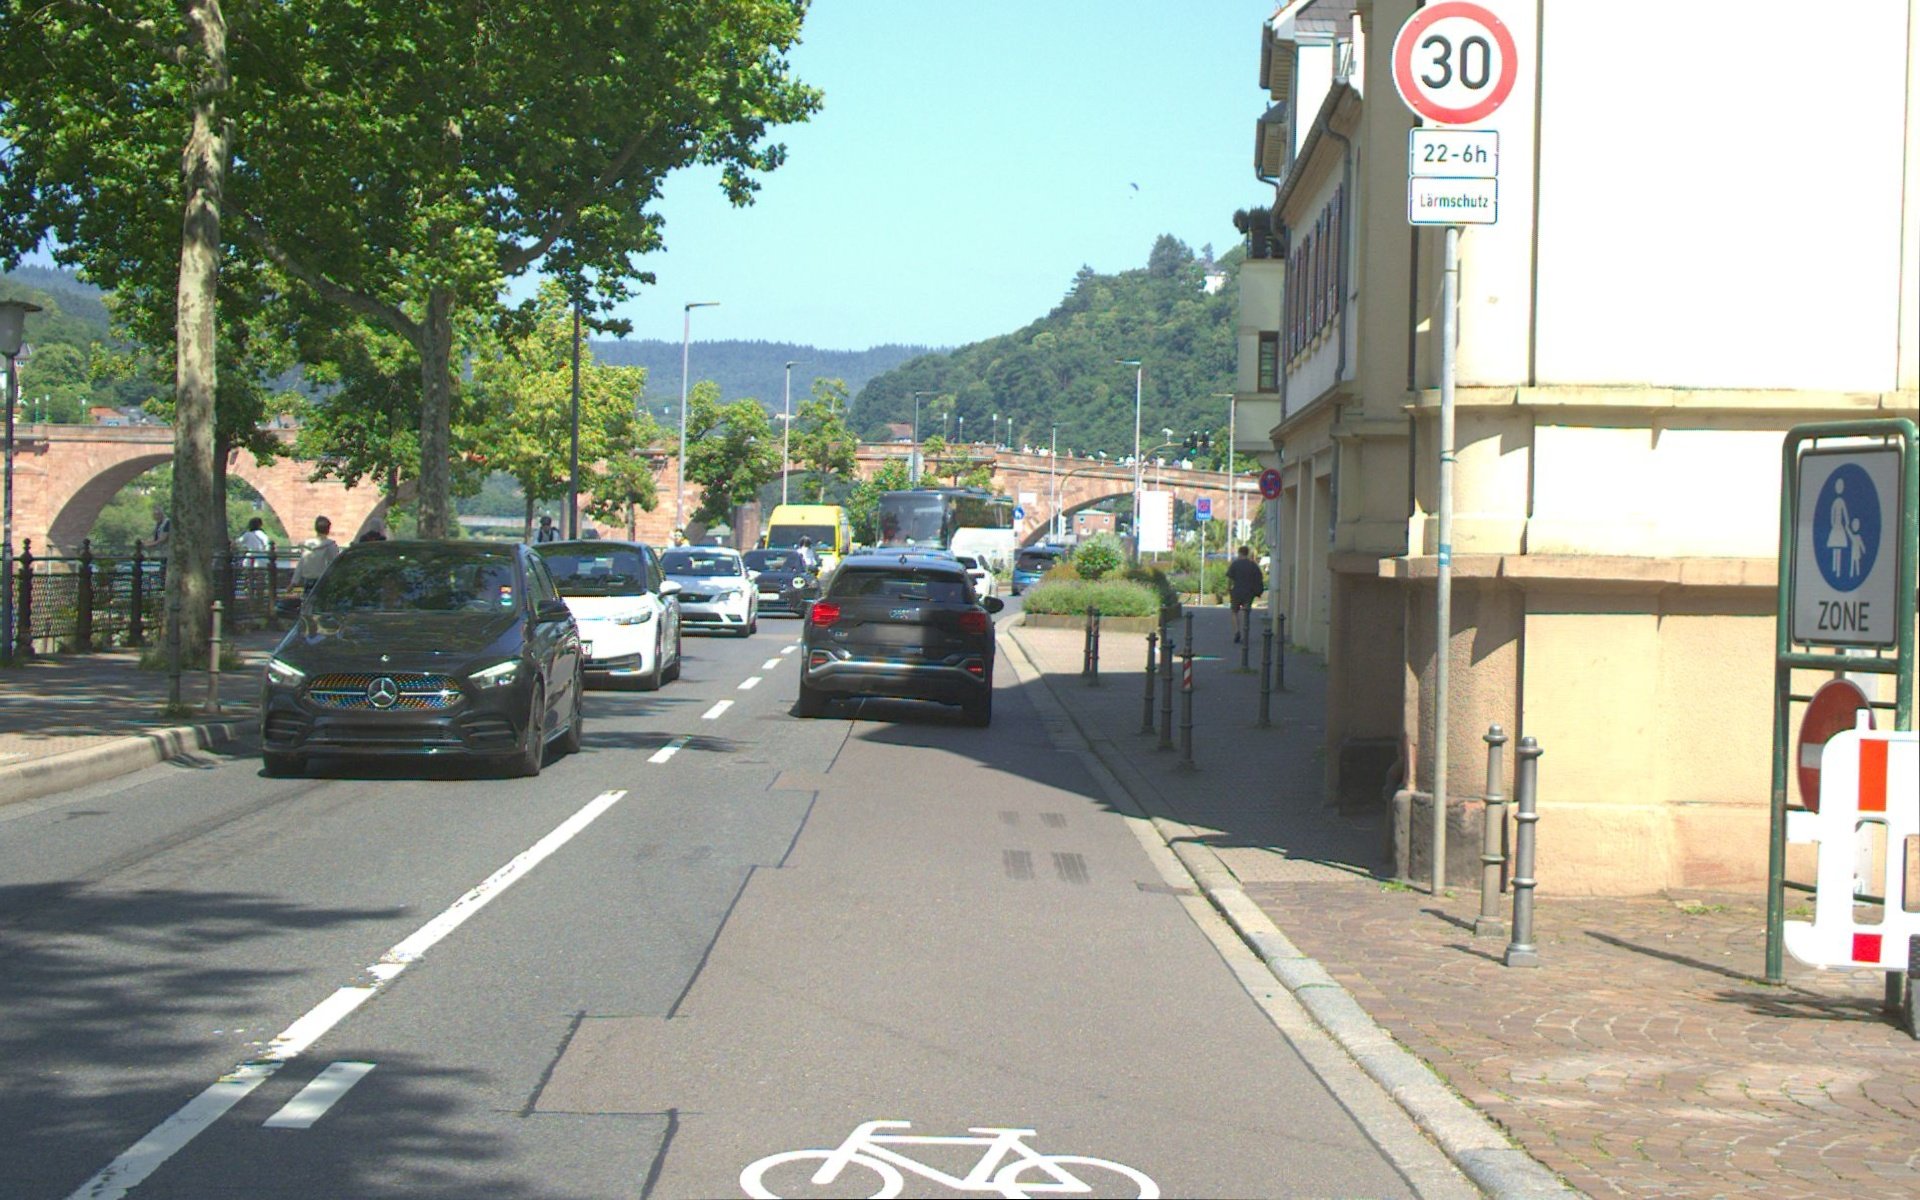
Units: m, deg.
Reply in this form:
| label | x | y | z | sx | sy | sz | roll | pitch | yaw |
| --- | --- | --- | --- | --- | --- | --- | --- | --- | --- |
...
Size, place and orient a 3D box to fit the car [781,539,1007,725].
| label | x | y | z | sx | sy | sz | roll | pitch | yaw |
| --- | --- | --- | --- | --- | --- | --- | --- | --- | --- |
| car | -0.584 | 0.250 | 32.981 | 1.926 | 1.548 | 4.832 | 3 | 1 | 0 |

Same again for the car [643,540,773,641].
| label | x | y | z | sx | sy | sz | roll | pitch | yaw |
| --- | --- | --- | --- | --- | --- | --- | --- | --- | --- |
| car | -4.097 | -0.184 | 56.359 | 1.701 | 1.440 | 4.092 | 3 | 2 | 1 |

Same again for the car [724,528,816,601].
| label | x | y | z | sx | sy | sz | roll | pitch | yaw |
| --- | --- | --- | --- | --- | --- | --- | --- | --- | --- |
| car | -3.963 | -0.750 | 72.138 | 1.701 | 1.453 | 4.002 | 1 | 1 | 0 |

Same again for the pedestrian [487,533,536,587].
| label | x | y | z | sx | sy | sz | roll | pitch | yaw |
| --- | --- | --- | --- | --- | --- | --- | --- | --- | --- |
| pedestrian | -10.811 | -0.967 | 82.874 | 0.937 | 1.276 | 0.849 | 2 | 1 | 8 |

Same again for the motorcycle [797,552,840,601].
| label | x | y | z | sx | sy | sz | roll | pitch | yaw |
| --- | --- | --- | --- | --- | --- | --- | --- | --- | --- |
| motorcycle | -3.215 | -0.538 | 78.056 | 0.883 | 1.073 | 2.328 | 1 | 1 | -5 |

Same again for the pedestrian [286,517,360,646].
| label | x | y | z | sx | sy | sz | roll | pitch | yaw |
| --- | --- | --- | --- | --- | --- | --- | --- | --- | --- |
| pedestrian | -7.975 | -0.232 | 43.052 | 0.761 | 1.581 | 0.696 | 2 | 1 | -1 |

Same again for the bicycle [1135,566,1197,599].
| label | x | y | z | sx | sy | sz | roll | pitch | yaw |
| --- | --- | --- | --- | --- | --- | --- | --- | --- | --- |
| bicycle | 6.175 | -0.532 | 103.070 | 1.810 | 0.875 | 0.502 | 4 | 2 | 3 |

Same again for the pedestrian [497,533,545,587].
| label | x | y | z | sx | sy | sz | roll | pitch | yaw |
| --- | --- | --- | --- | --- | --- | --- | --- | --- | --- |
| pedestrian | -10.688 | -0.975 | 83.778 | 0.937 | 1.276 | 0.849 | 2 | 1 | 8 |

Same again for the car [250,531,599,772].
| label | x | y | z | sx | sy | sz | roll | pitch | yaw |
| --- | --- | --- | --- | --- | --- | --- | --- | --- | --- |
| car | -3.621 | 0.299 | 23.955 | 1.701 | 1.513 | 4.405 | 0 | 1 | 0 |

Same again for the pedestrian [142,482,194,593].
| label | x | y | z | sx | sy | sz | roll | pitch | yaw |
| --- | --- | --- | --- | --- | --- | --- | --- | --- | --- |
| pedestrian | -14.037 | -1.105 | 60.943 | 0.693 | 1.938 | 0.887 | 2 | 1 | -1 |

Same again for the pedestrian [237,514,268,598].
| label | x | y | z | sx | sy | sz | roll | pitch | yaw |
| --- | --- | --- | --- | --- | --- | --- | --- | --- | --- |
| pedestrian | -13.520 | -0.833 | 65.707 | 0.414 | 1.592 | 0.450 | 2 | 1 | 7 |

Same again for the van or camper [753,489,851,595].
| label | x | y | z | sx | sy | sz | roll | pitch | yaw |
| --- | --- | --- | --- | --- | --- | --- | --- | --- | --- |
| van or camper | -4.020 | -1.475 | 88.712 | 2.087 | 2.548 | 7.092 | 2 | 1 | 0 |

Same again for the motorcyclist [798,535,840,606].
| label | x | y | z | sx | sy | sz | roll | pitch | yaw |
| --- | --- | --- | --- | --- | --- | --- | --- | --- | --- |
| motorcyclist | -3.209 | -0.680 | 78.081 | 0.878 | 1.578 | 1.025 | 2 | 1 | -4 |

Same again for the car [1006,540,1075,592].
| label | x | y | z | sx | sy | sz | roll | pitch | yaw |
| --- | --- | --- | --- | --- | --- | --- | --- | --- | --- |
| car | 2.514 | -1.083 | 106.358 | 1.927 | 1.548 | 4.831 | 1 | 1 | 4 |

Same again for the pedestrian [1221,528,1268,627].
| label | x | y | z | sx | sy | sz | roll | pitch | yaw |
| --- | --- | --- | --- | --- | --- | --- | --- | --- | --- |
| pedestrian | 4.958 | -0.389 | 59.964 | 0.762 | 1.708 | 0.696 | -1 | 0 | 3 |

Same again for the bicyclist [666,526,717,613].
| label | x | y | z | sx | sy | sz | roll | pitch | yaw |
| --- | --- | --- | --- | --- | --- | --- | --- | --- | --- |
| bicyclist | -4.968 | -0.568 | 63.675 | 0.766 | 1.526 | 1.025 | 3 | 3 | 1 |

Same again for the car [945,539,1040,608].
| label | x | y | z | sx | sy | sz | roll | pitch | yaw |
| --- | --- | --- | --- | --- | --- | --- | --- | --- | --- |
| car | 0.804 | -0.648 | 80.880 | 1.927 | 1.548 | 4.831 | 1 | 1 | 4 |

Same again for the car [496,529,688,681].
| label | x | y | z | sx | sy | sz | roll | pitch | yaw |
| --- | --- | --- | --- | --- | --- | --- | --- | --- | --- |
| car | -3.864 | 0.041 | 36.684 | 1.735 | 1.513 | 4.405 | 1 | 0 | -2 |

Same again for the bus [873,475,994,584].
| label | x | y | z | sx | sy | sz | roll | pitch | yaw |
| --- | --- | --- | --- | --- | --- | --- | --- | --- | --- |
| bus | -0.832 | -2.405 | 121.907 | 2.632 | 3.552 | 12.979 | 2 | 0 | 6 |

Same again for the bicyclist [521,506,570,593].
| label | x | y | z | sx | sy | sz | roll | pitch | yaw |
| --- | --- | --- | --- | --- | --- | --- | --- | --- | --- |
| bicyclist | -7.677 | -0.927 | 63.731 | 0.719 | 1.578 | 1.089 | 2 | 1 | 1 |

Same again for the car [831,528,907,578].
| label | x | y | z | sx | sy | sz | roll | pitch | yaw |
| --- | --- | --- | --- | --- | --- | --- | --- | --- | --- |
| car | -2.668 | -1.406 | 102.080 | 1.814 | 1.423 | 4.310 | 0 | 1 | 5 |

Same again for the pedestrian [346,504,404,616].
| label | x | y | z | sx | sy | sz | roll | pitch | yaw |
| --- | --- | --- | --- | --- | --- | --- | --- | --- | --- |
| pedestrian | -9.020 | -0.616 | 53.054 | 0.656 | 1.676 | 0.758 | 4 | 1 | -1 |

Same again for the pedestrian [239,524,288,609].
| label | x | y | z | sx | sy | sz | roll | pitch | yaw |
| --- | --- | --- | --- | --- | --- | --- | --- | --- | --- |
| pedestrian | -13.338 | -0.640 | 65.862 | 0.694 | 1.610 | 0.663 | 2 | 1 | 7 |

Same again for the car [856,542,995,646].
| label | x | y | z | sx | sy | sz | roll | pitch | yaw |
| --- | --- | --- | --- | --- | --- | --- | --- | --- | --- |
| car | -0.477 | -0.130 | 52.964 | 1.926 | 1.456 | 4.832 | 2 | 1 | 1 |
